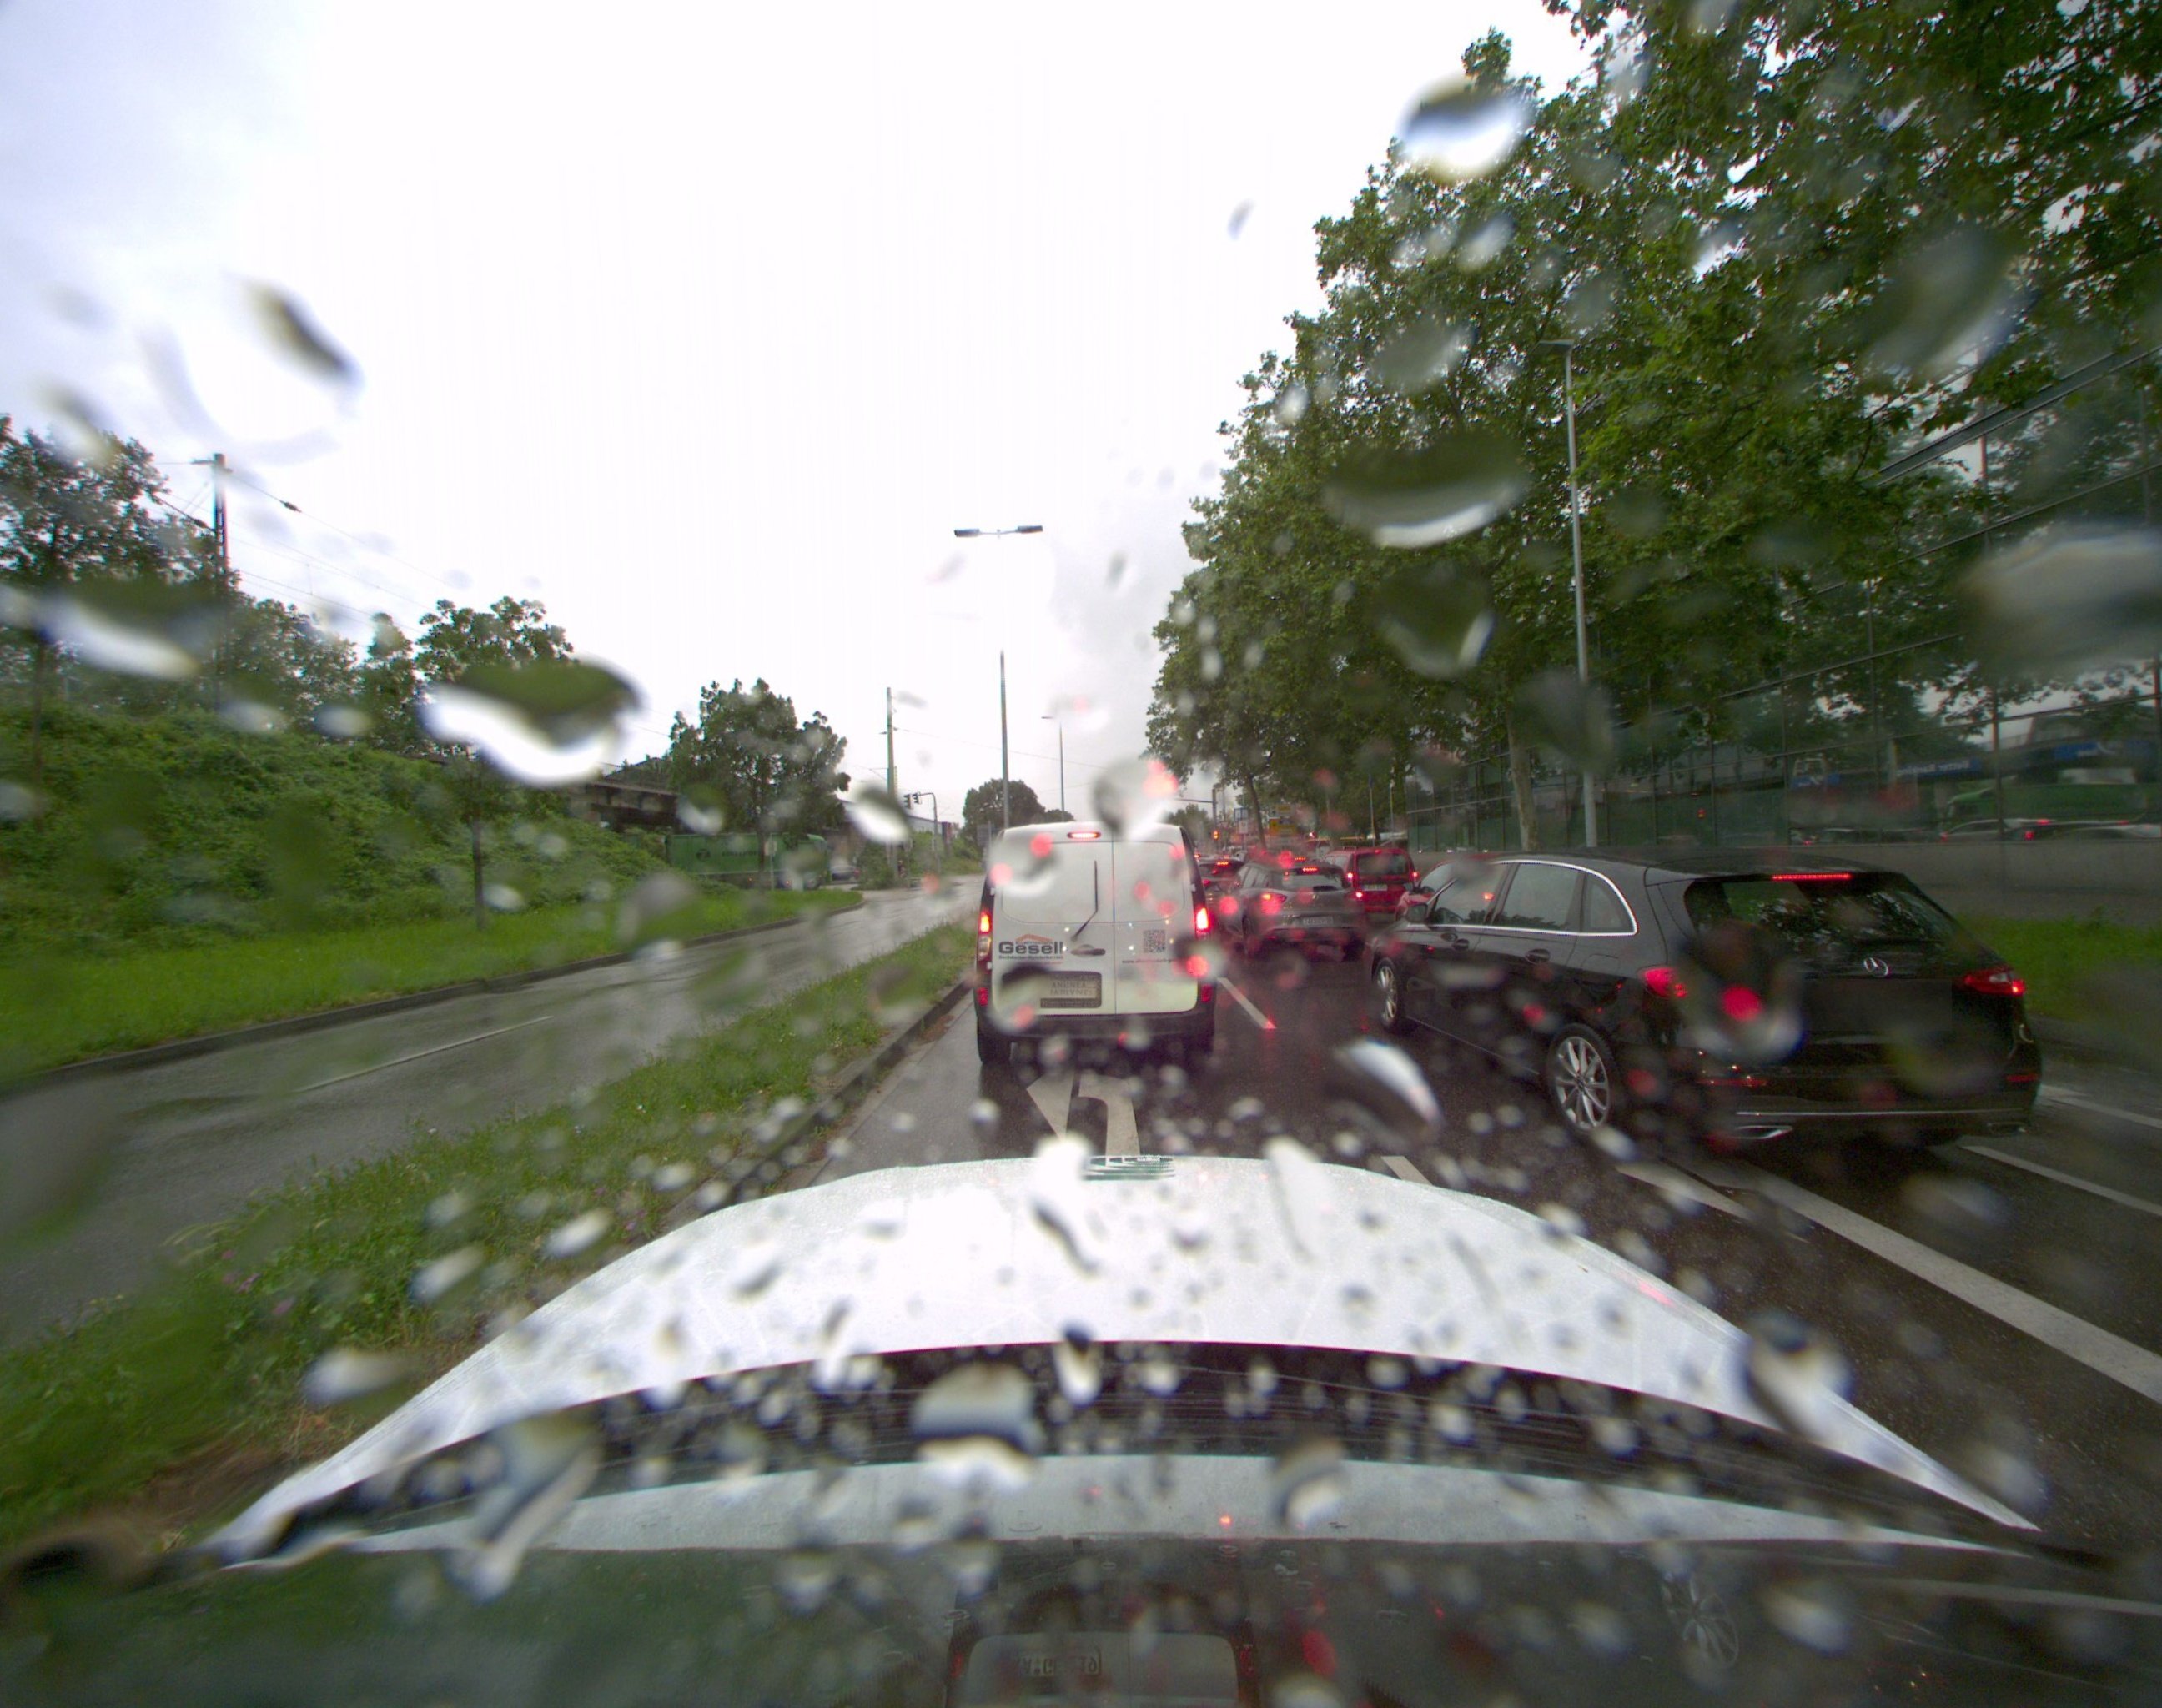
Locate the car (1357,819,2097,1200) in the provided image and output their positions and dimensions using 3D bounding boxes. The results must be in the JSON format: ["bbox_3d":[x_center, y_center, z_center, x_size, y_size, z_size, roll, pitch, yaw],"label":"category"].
[{"bbox_3d":[3.383,0.649,5.439,1.741,1.554,4.091,-1,0,1],"label":"car"}]

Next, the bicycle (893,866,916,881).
[{"bbox_3d":[-12.144,1.342,56.003,1.045,0.952,2.866,-2,0,-22],"label":"bicycle"}]

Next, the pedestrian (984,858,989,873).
[{"bbox_3d":[-11.240,1.382,96.615,0.541,1.716,0.563,0,-1,-2],"label":"pedestrian"}]

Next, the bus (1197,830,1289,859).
[{"bbox_3d":[21.894,-1.333,110.581,11.926,3.423,2.316,-2,0,1],"label":"bus"}]

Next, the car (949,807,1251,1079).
[{"bbox_3d":[0.199,0.591,7.762,1.986,1.776,4.587,-1,0,2],"label":"car"}]

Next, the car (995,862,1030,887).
[{"bbox_3d":[-4.500,1.337,54.238,1.810,1.462,4.001,-4,0,1],"label":"car"}]

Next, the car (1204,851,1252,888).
[{"bbox_3d":[6.911,0.718,38.603,1.702,1.650,3.844,-1,-1,2],"label":"car"}]

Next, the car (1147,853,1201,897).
[{"bbox_3d":[3.760,0.819,33.564,1.847,1.650,3.844,-1,-1,2],"label":"car"}]

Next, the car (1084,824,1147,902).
[{"bbox_3d":[1.097,0.273,26.504,1.847,2.296,3.844,-1,0,2],"label":"car"}]

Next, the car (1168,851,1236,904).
[{"bbox_3d":[4.065,0.733,27.890,1.847,1.649,3.844,-1,0,2],"label":"car"}]

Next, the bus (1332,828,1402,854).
[{"bbox_3d":[42.918,-1.989,121.944,12.044,3.423,2.460,-3,0,-29],"label":"bus"}]

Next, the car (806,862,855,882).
[{"bbox_3d":[-23.362,1.632,76.010,4.016,1.717,1.979,-1,0,-34],"label":"car"}]

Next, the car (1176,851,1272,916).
[{"bbox_3d":[3.508,0.670,20.672,1.847,1.460,3.844,-1,0,2],"label":"car"}]

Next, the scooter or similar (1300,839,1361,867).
[{"bbox_3d":[23.453,-0.066,76.676,1.905,2.446,5.257,-1,0,-39],"label":"scooter or similar"}]

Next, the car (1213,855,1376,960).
[{"bbox_3d":[3.245,0.742,13.124,1.677,1.408,3.844,0,0,1],"label":"car"}]

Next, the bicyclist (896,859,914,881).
[{"bbox_3d":[-12.095,1.094,55.893,1.045,1.450,0.723,-2,0,-23],"label":"bicyclist"}]

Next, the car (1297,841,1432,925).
[{"bbox_3d":[6.315,0.620,18.668,1.704,1.694,4.273,0,-1,2],"label":"car"}]

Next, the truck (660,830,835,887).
[{"bbox_3d":[-21.254,0.196,52.394,10.105,3.371,2.322,-2,0,-35],"label":"truck"}]

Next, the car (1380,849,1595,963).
[{"bbox_3d":[5.902,0.671,12.271,1.563,1.462,3.390,-1,0,1],"label":"car"}]
